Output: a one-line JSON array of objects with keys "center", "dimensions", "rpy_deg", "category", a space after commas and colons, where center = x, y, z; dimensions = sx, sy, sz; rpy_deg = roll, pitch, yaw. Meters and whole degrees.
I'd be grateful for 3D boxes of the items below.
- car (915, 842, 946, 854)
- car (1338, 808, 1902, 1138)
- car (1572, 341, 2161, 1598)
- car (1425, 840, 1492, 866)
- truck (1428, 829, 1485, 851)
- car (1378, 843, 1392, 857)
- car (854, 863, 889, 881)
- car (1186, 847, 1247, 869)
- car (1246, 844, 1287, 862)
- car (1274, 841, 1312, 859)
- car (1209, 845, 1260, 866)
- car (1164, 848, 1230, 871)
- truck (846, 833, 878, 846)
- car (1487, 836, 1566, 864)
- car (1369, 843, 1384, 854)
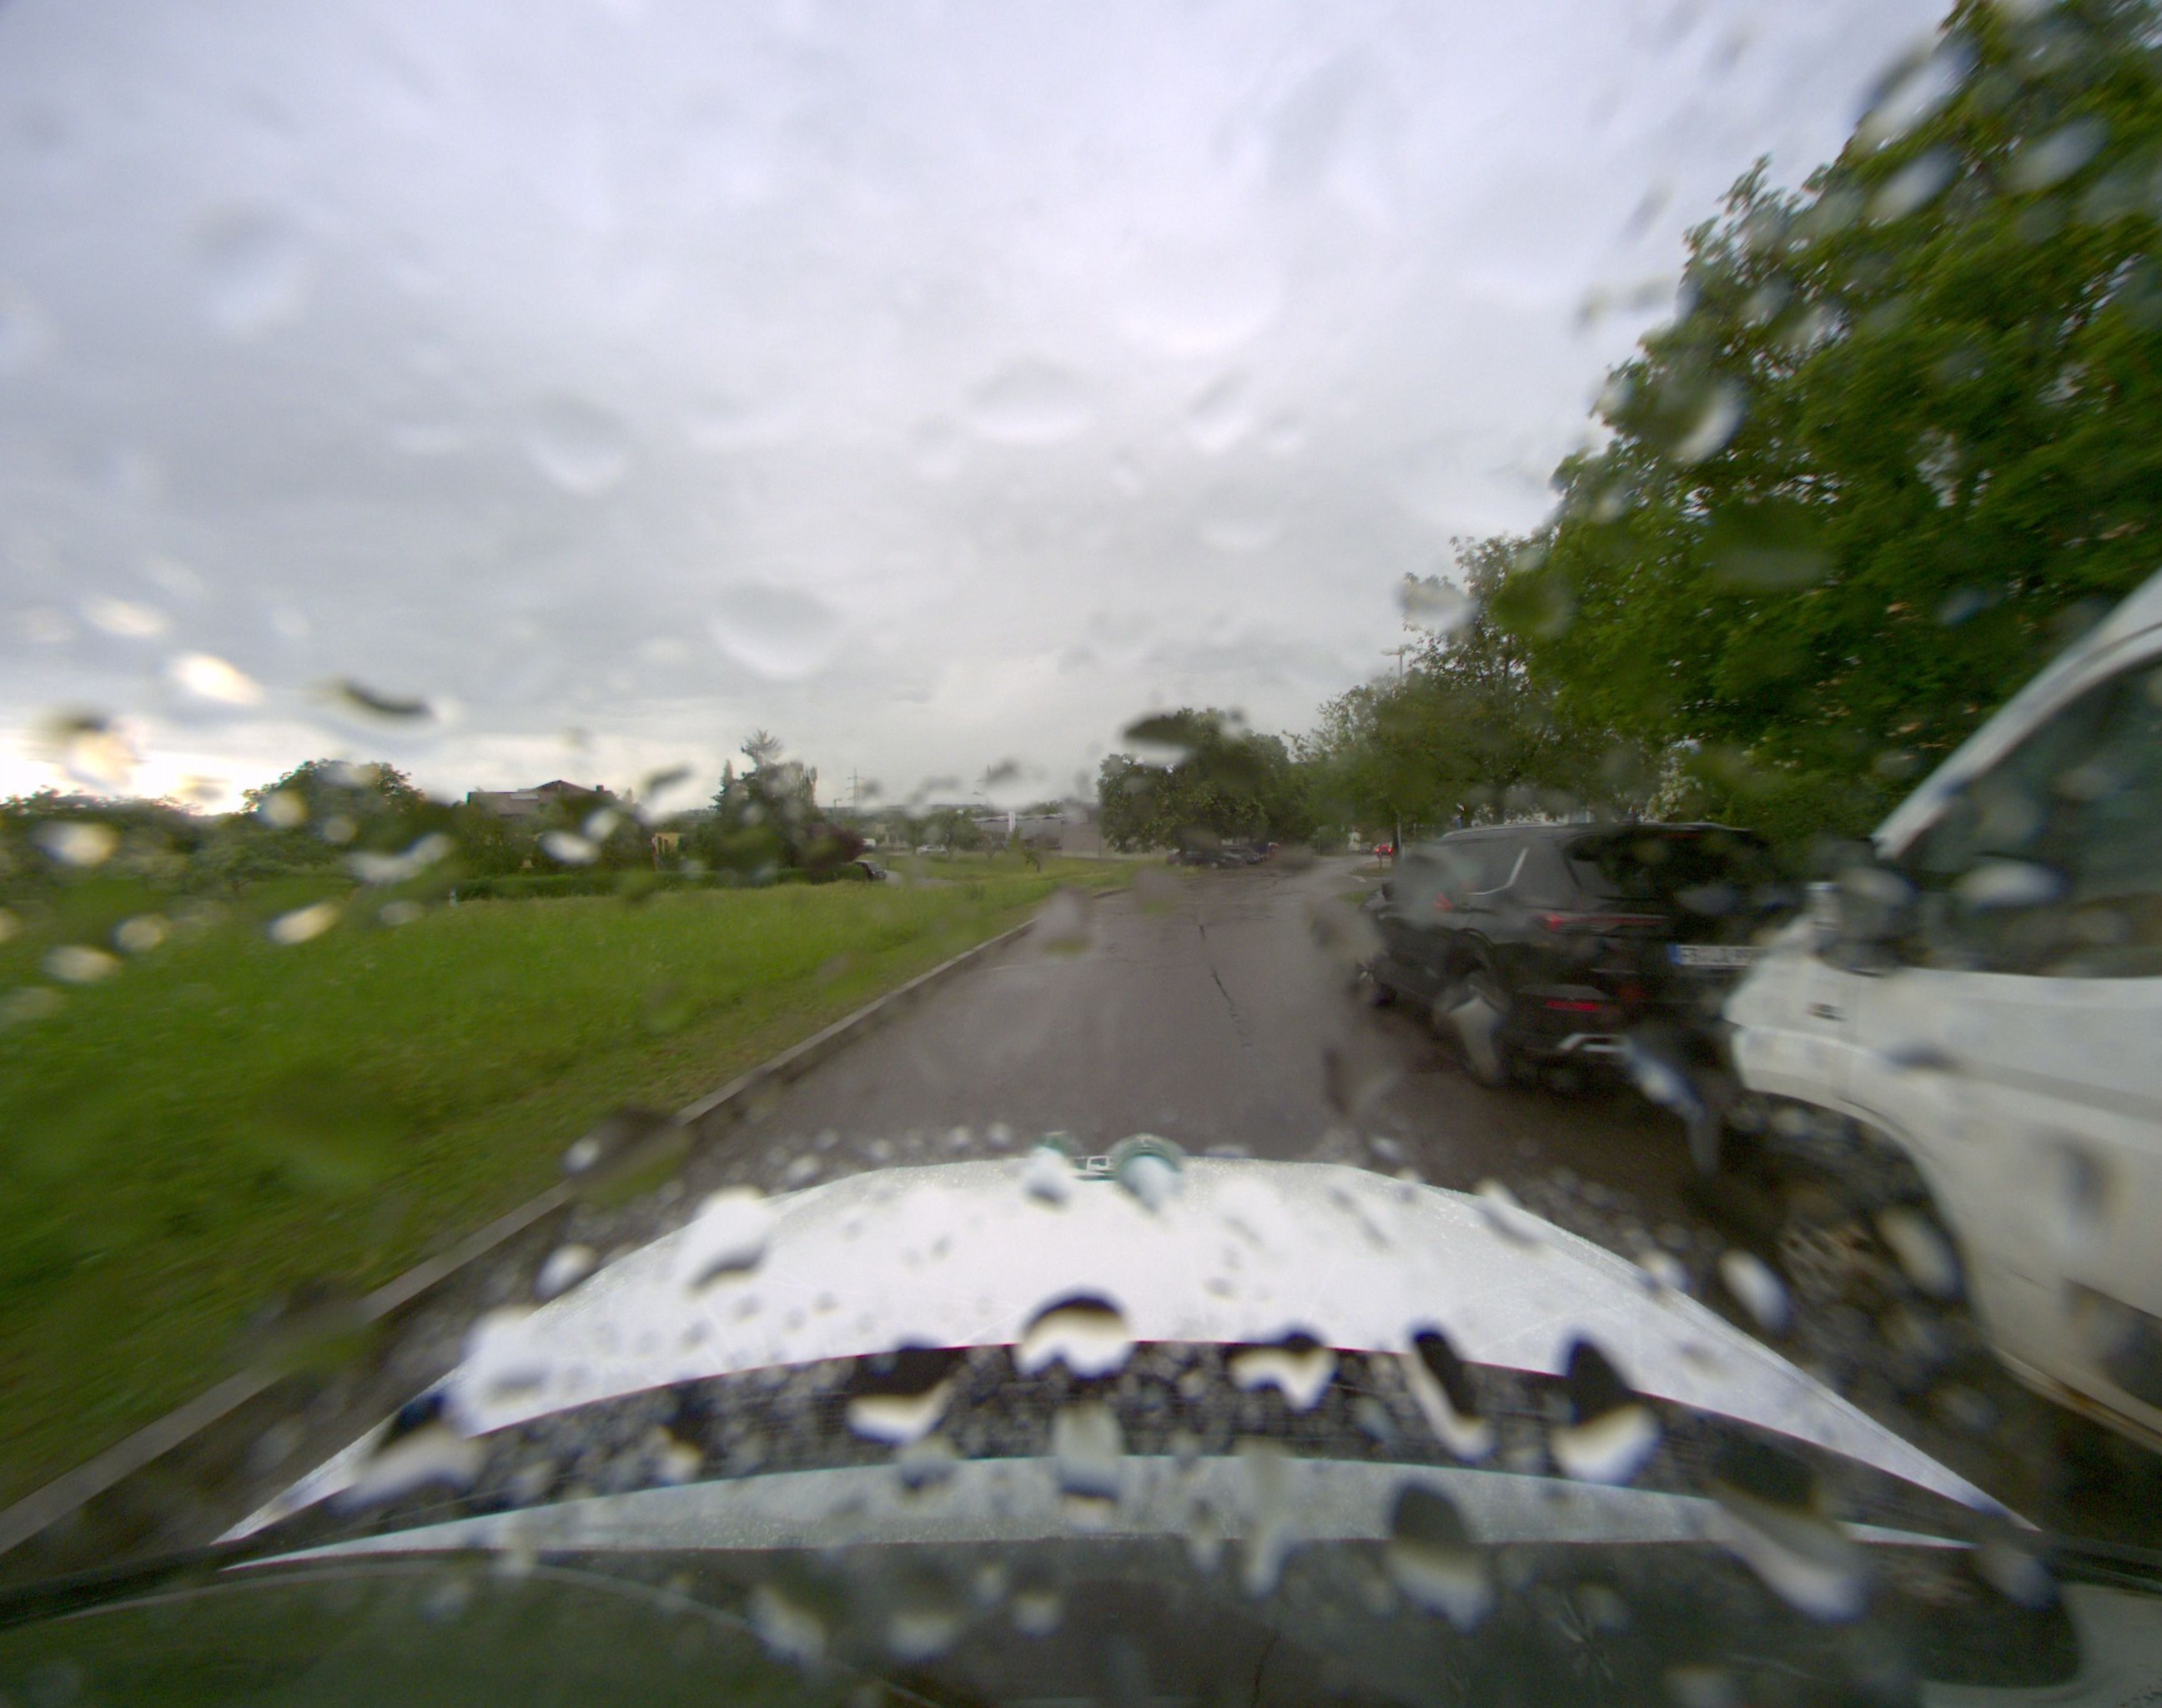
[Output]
[{"center": [-23.417, -0.922, 126.530], "dimensions": [4.294, 1.701, 1.778], "rpy_deg": [1, 2, -35], "category": "car"}, {"center": [3.520, 0.589, 6.548], "dimensions": [1.800, 1.703, 4.605], "rpy_deg": [0, 1, 5], "category": "car"}, {"center": [3.154, 0.227, 0.812], "dimensions": [2.110, 2.467, 5.511], "rpy_deg": [-1, 0, 1], "category": "car"}, {"center": [25.909, -0.061, 56.087], "dimensions": [4.057, 1.566, 2.011], "rpy_deg": [-2, 0, 23], "category": "car"}, {"center": [51.902, -1.874, 112.665], "dimensions": [6.794, 2.726, 2.662], "rpy_deg": [-2, 0, 34], "category": "truck"}, {"center": [38.568, -0.509, 103.335], "dimensions": [1.672, 1.551, 3.717], "rpy_deg": [0, 2, 21], "category": "car"}, {"center": [-20.988, 1.766, 81.681], "dimensions": [1.791, 1.596, 3.953], "rpy_deg": [-2, 2, -41], "category": "car"}, {"center": [9.617, 0.283, 57.807], "dimensions": [3.955, 1.360, 1.863], "rpy_deg": [-2, 0, 17], "category": "car"}, {"center": [17.644, -0.105, 77.535], "dimensions": [3.531, 1.605, 1.701], "rpy_deg": [-2, 0, 20], "category": "car"}, {"center": [23.414, -0.461, 89.899], "dimensions": [3.955, 1.811, 2.009], "rpy_deg": [-2, 0, 17], "category": "car"}, {"center": [12.308, 0.110, 65.312], "dimensions": [3.840, 1.547, 1.781], "rpy_deg": [-1, 0, 17], "category": "car"}, {"center": [7.948, 0.361, 55.740], "dimensions": [4.132, 1.355, 1.871], "rpy_deg": [-2, 0, 17], "category": "car"}, {"center": [-42.190, -2.739, 156.803], "dimensions": [5.351, 2.308, 2.409], "rpy_deg": [0, 2, -35], "category": "truck"}, {"center": [25.336, -0.209, 46.454], "dimensions": [1.872, 1.475, 3.963], "rpy_deg": [-2, 0, -9], "category": "car"}, {"center": [47.871, -0.934, 131.853], "dimensions": [1.858, 1.597, 4.023], "rpy_deg": [-2, 0, 25], "category": "car"}]
